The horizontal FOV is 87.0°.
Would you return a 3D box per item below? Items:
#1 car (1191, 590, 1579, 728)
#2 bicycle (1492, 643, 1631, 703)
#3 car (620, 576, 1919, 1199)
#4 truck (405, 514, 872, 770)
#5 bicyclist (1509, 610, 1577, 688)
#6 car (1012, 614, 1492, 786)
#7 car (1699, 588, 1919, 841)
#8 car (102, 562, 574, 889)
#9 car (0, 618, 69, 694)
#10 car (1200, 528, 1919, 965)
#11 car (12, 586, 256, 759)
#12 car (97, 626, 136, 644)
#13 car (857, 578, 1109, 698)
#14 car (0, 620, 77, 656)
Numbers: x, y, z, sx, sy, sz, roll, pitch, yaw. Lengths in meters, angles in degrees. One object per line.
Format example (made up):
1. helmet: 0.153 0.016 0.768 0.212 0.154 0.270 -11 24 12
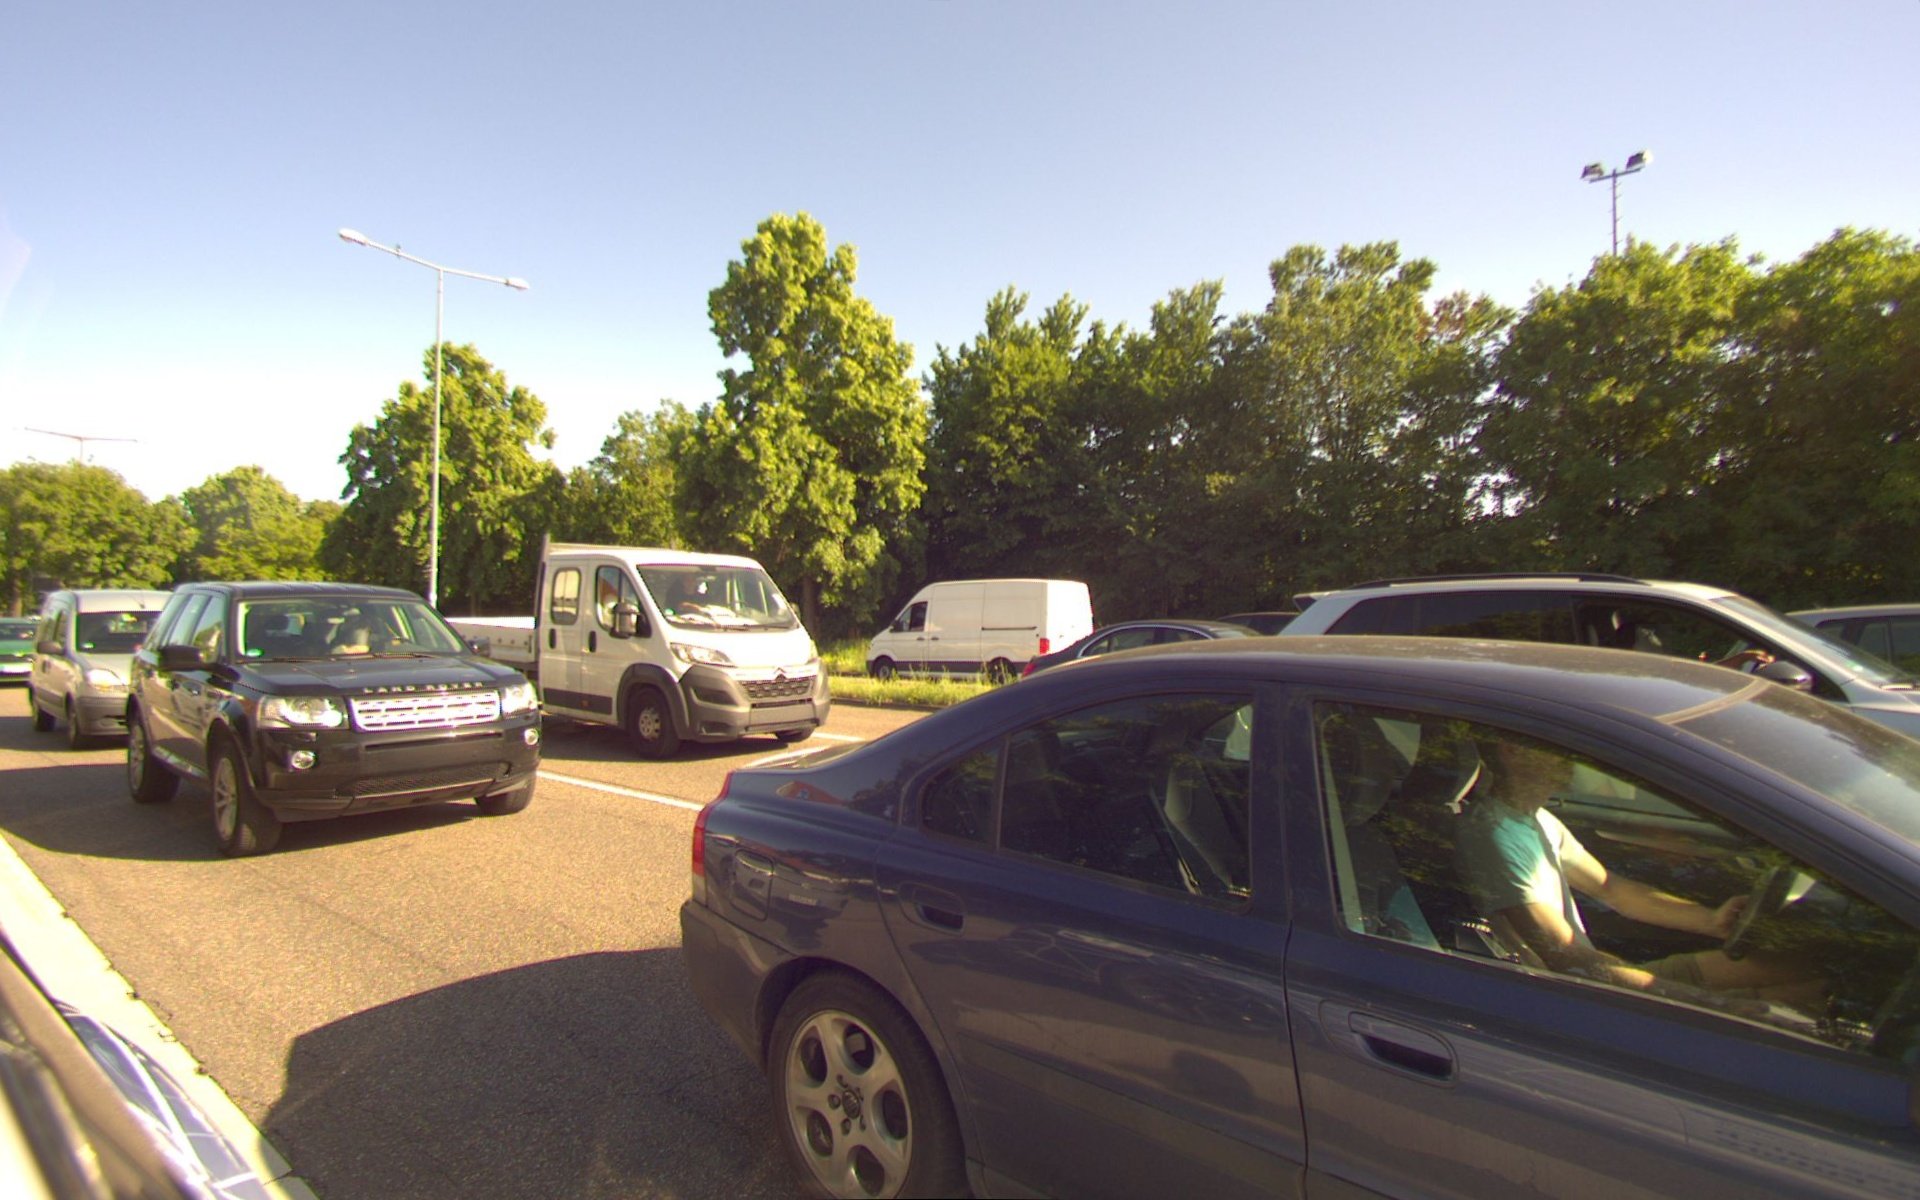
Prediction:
1. car: 5.779 0.757 14.127 4.613 1.614 1.973 -1 -3 41
2. bicycle: 13.116 1.559 22.119 2.531 1.221 0.867 -1 -3 36
3. car: 1.271 0.700 2.100 4.454 1.463 1.757 0 0 41
4. truck: -4.237 0.406 12.327 6.838 2.337 2.158 0 -1 40
5. bicyclist: 12.790 1.069 22.212 1.197 1.661 0.868 -1 -3 36
6. car: 2.890 0.902 10.689 4.550 1.440 1.811 -1 -3 41
7. car: 7.487 0.744 6.548 4.206 1.623 1.810 -1 -3 42
8. car: -4.810 0.685 7.536 4.384 1.744 1.793 0 -1 41
9. car: -20.212 1.145 21.323 3.929 1.486 1.609 -1 -3 41
10. car: 3.741 0.622 5.359 4.423 1.723 1.973 -1 -3 41
11. car: -10.193 0.750 12.365 4.384 1.765 1.611 0 -1 41
12. car: -73.828 3.058 88.531 4.501 1.536 1.869 -1 -2 40
13. car: 0.407 0.862 23.858 5.999 2.511 2.078 -1 -2 40
14. car: -38.436 1.562 42.169 3.994 1.456 1.706 -1 -3 38
